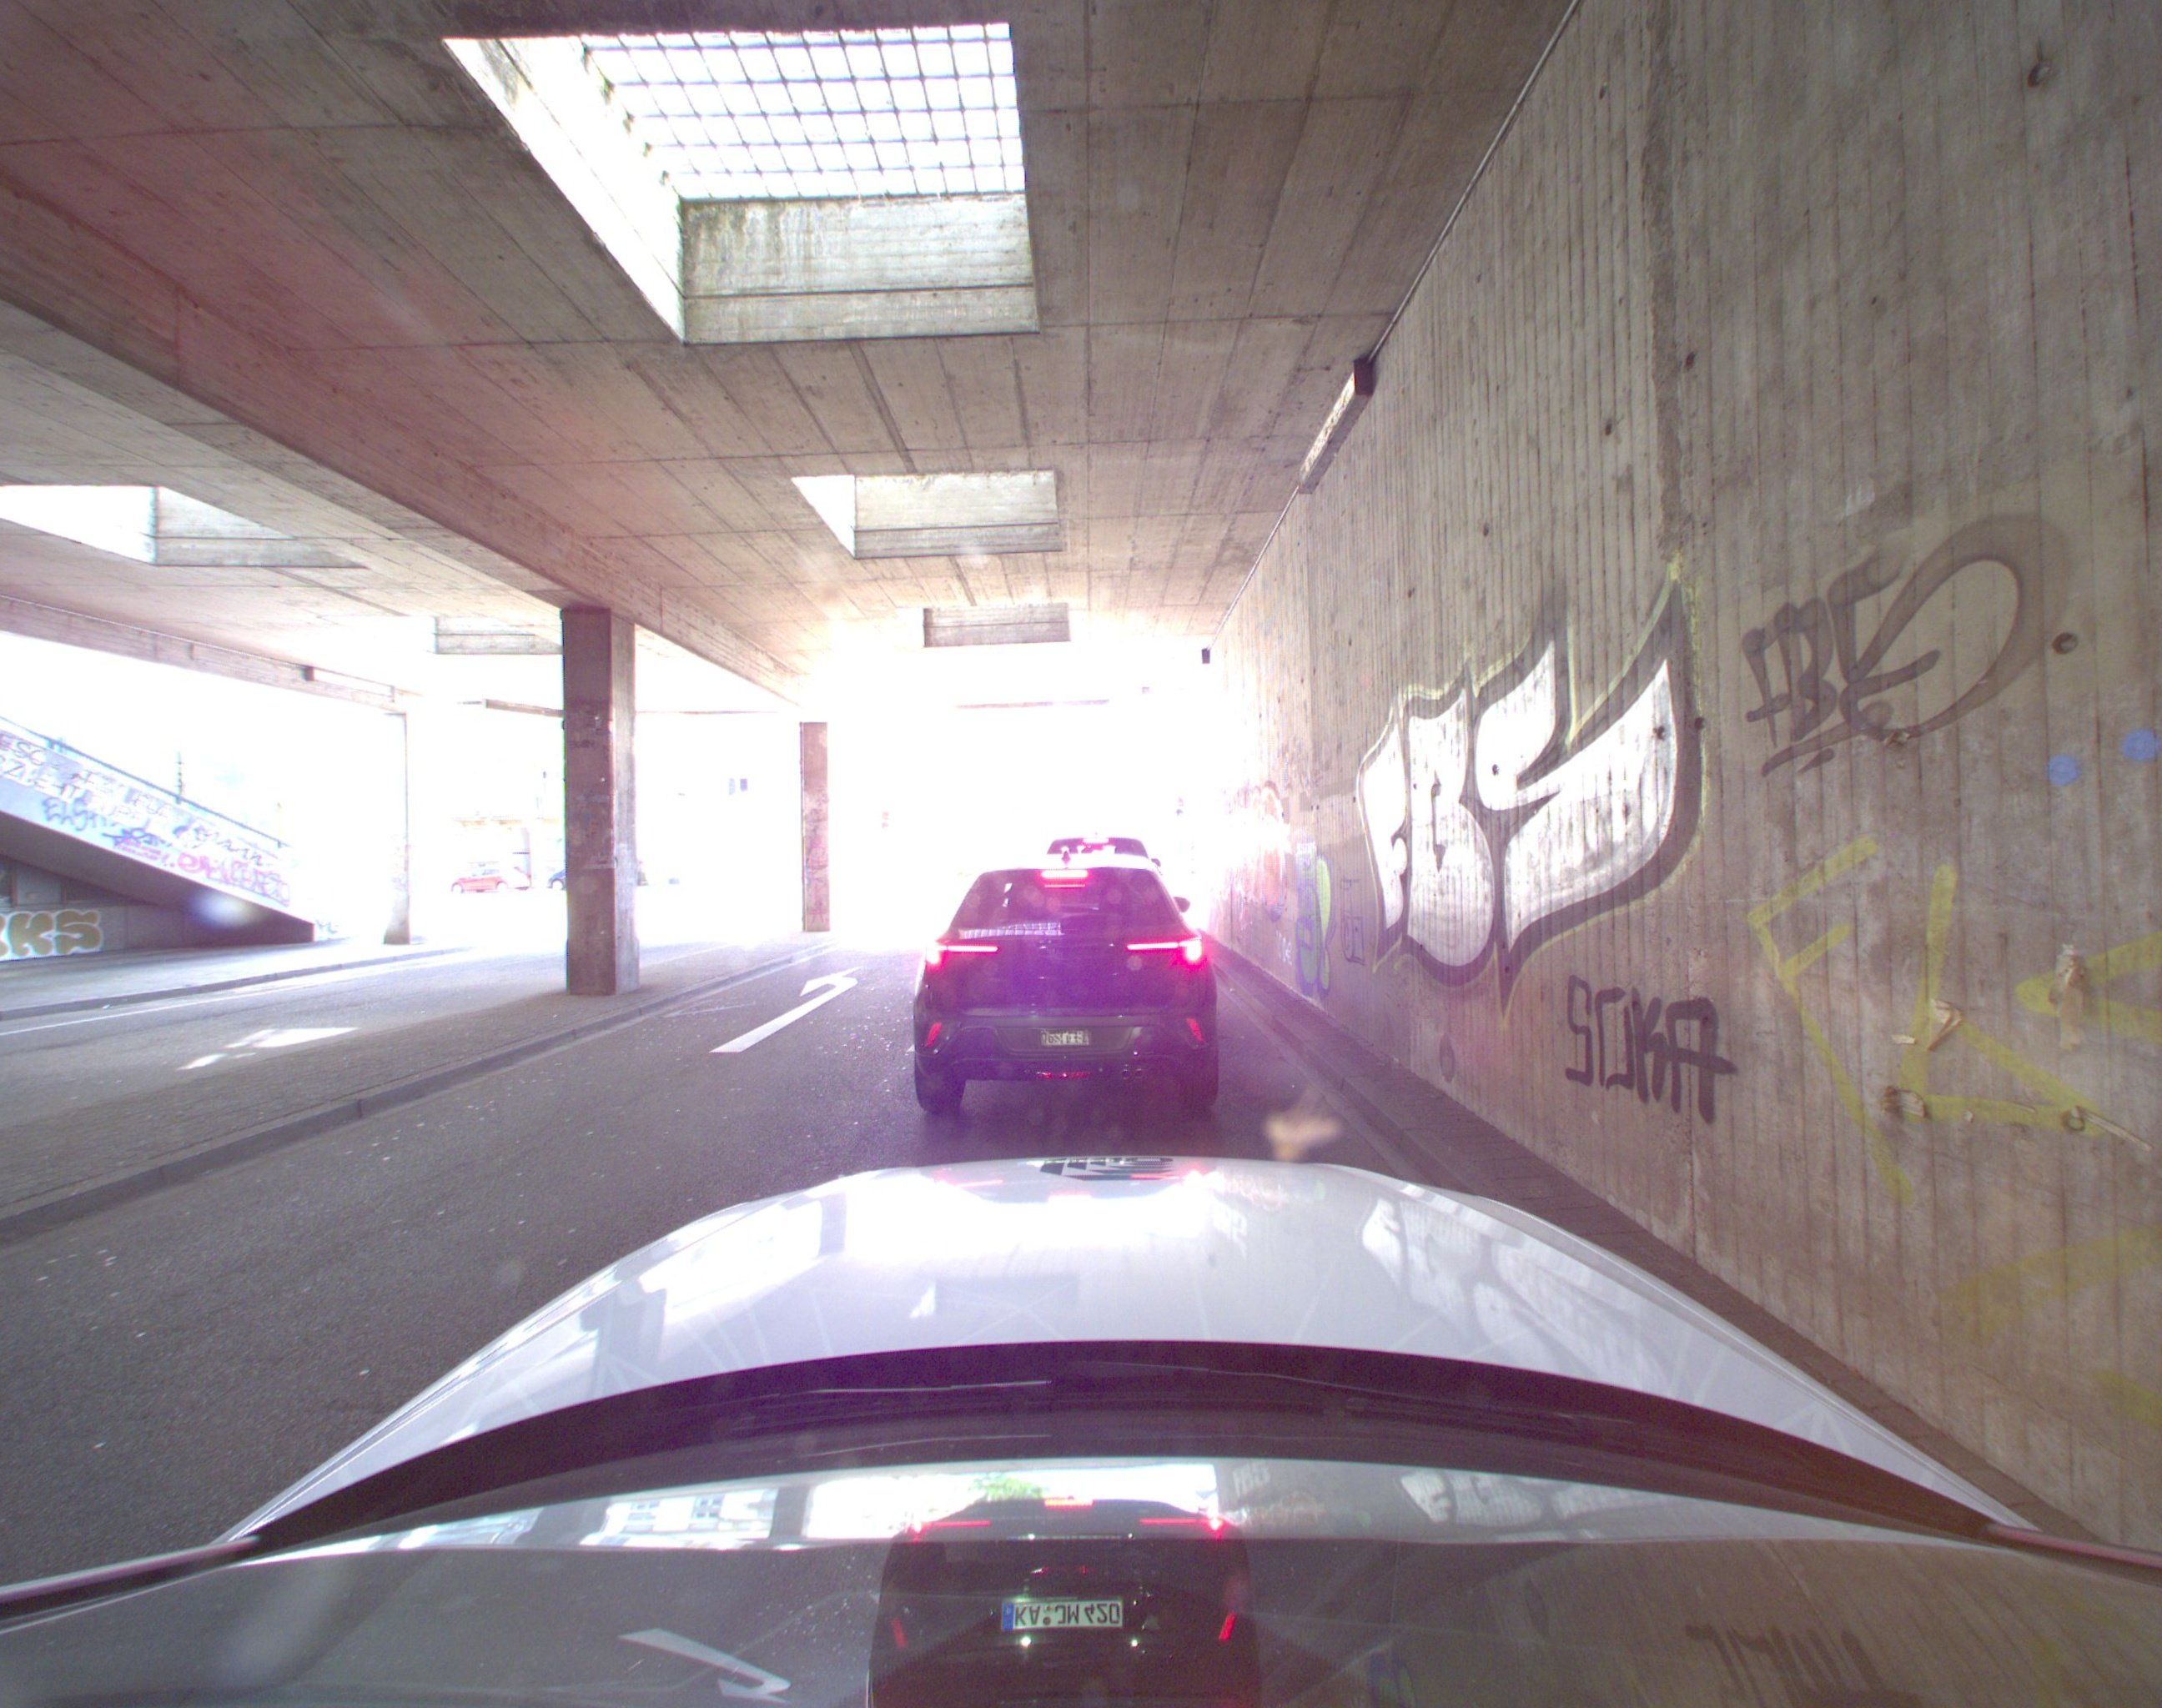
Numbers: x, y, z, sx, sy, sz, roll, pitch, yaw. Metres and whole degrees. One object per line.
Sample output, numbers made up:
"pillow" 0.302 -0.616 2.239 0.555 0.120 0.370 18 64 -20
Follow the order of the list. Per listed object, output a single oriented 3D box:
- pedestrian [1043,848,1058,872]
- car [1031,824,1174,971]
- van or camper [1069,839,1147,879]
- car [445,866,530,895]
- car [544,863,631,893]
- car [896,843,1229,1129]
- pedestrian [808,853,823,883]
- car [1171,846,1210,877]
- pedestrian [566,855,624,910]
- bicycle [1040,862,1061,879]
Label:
"pedestrian" -2.089 0.423 55.875 0.729 1.585 0.894 0 -1 18
"car" 0.338 0.544 12.193 1.779 1.833 3.962 -1 0 2
"van or camper" 1.478 0.274 43.517 3.854 2.013 2.005 -2 0 9
"car" -32.827 1.449 45.112 3.519 1.506 1.563 -2 0 2
"car" -27.391 1.297 45.286 3.742 1.508 1.752 -2 0 0
"car" -0.025 0.693 6.290 1.746 1.498 4.002 0 0 2
"pedestrian" -15.367 0.818 47.091 0.720 1.705 0.623 0 -1 -7
"car" 6.405 0.384 47.945 1.984 1.641 4.599 -2 1 5
"pedestrian" -16.075 0.936 26.957 1.103 1.737 1.146 -2 0 15
"bicycle" -2.090 1.126 55.947 0.730 1.130 2.036 -2 0 19
